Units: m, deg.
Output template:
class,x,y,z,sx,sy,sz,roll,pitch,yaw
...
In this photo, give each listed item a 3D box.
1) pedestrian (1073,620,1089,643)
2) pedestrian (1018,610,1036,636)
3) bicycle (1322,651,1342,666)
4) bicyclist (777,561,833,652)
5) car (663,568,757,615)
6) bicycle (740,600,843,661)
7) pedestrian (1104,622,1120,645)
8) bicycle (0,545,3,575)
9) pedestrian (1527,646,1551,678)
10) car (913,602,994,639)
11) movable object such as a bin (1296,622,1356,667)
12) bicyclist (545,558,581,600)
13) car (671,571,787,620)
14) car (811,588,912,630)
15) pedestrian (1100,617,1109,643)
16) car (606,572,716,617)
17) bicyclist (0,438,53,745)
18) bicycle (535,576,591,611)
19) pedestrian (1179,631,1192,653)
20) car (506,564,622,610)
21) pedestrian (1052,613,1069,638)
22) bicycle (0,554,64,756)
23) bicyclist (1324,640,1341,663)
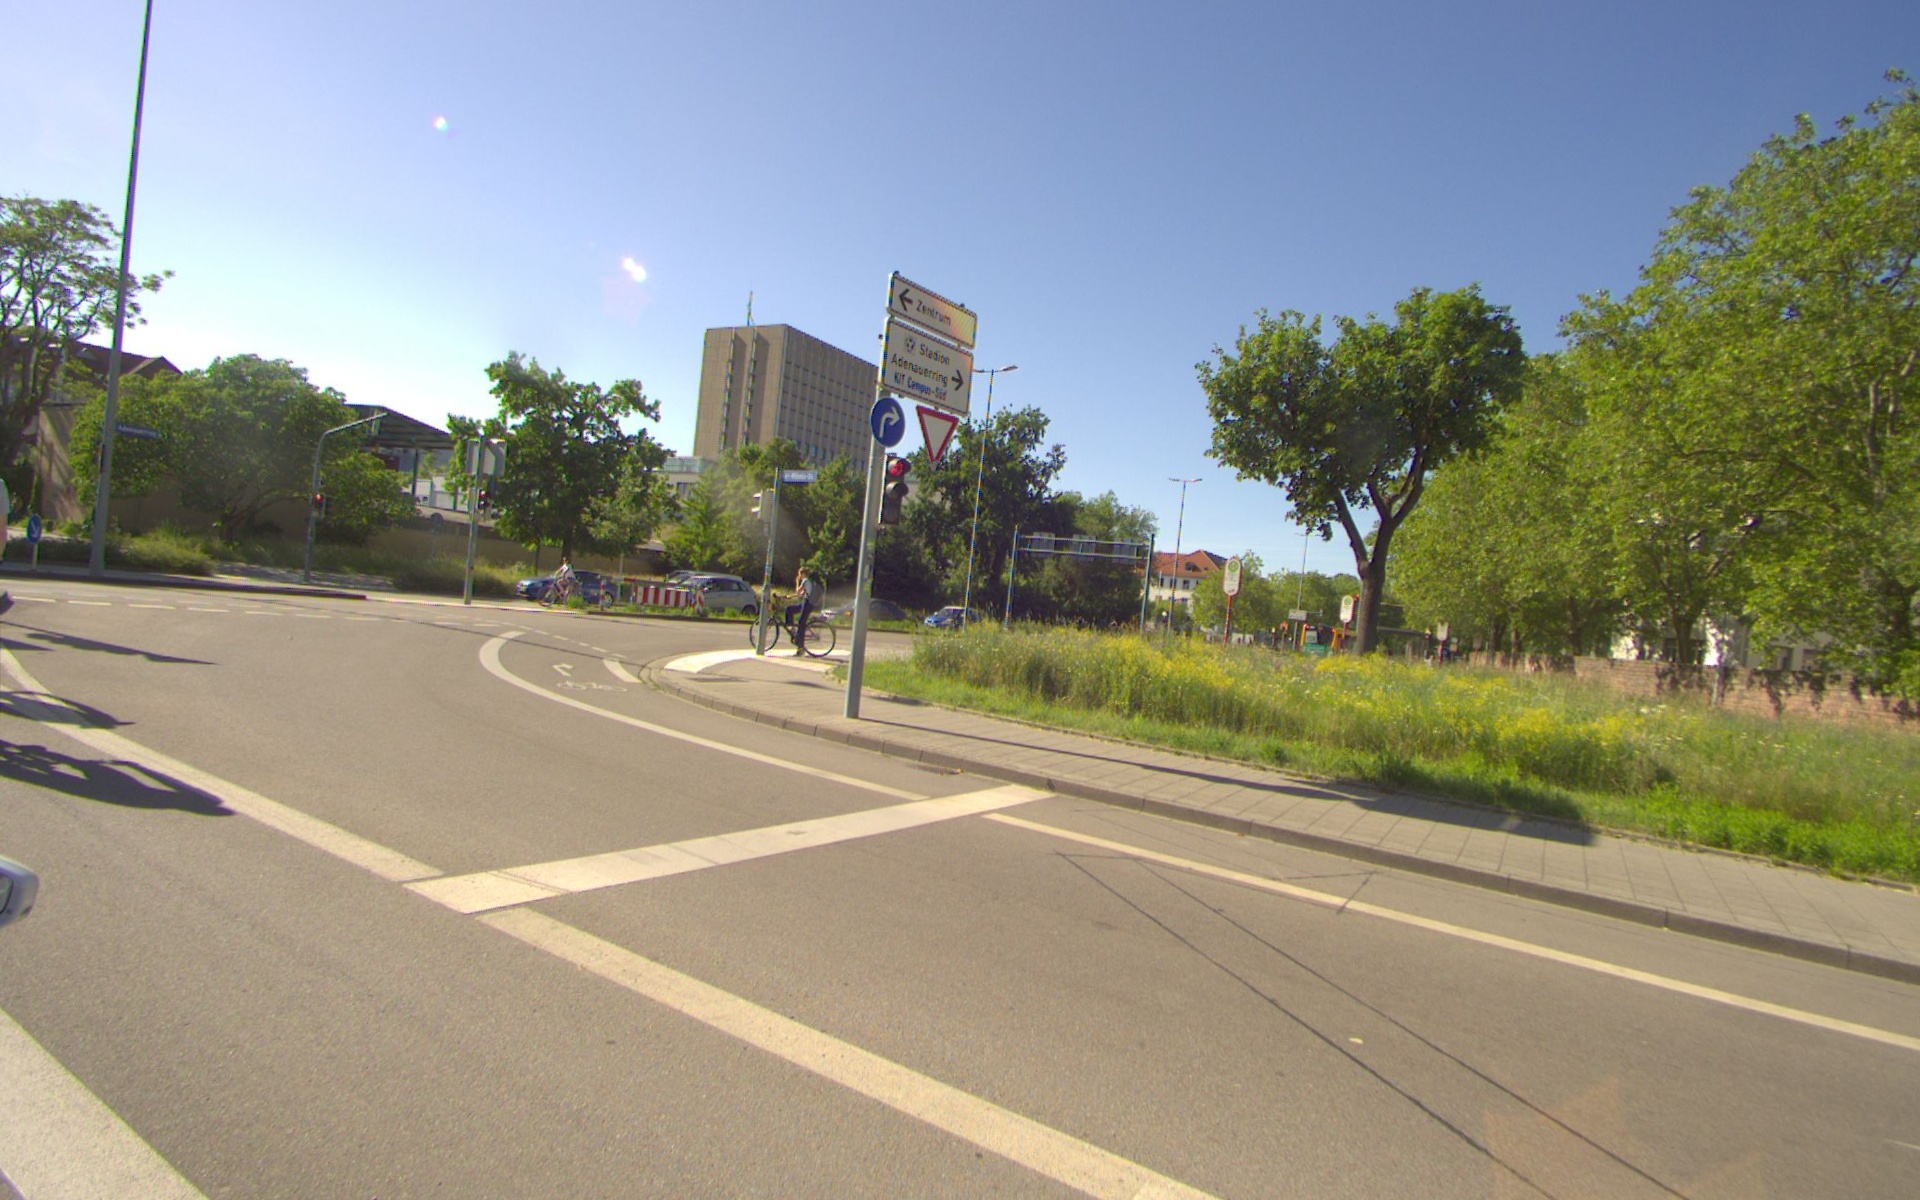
class,x,y,z,sx,sy,sz,roll,pitch,yaw
pedestrian,11.140,2.882,92.497,0.752,2.039,1.267,7,1,36
pedestrian,5.667,1.958,85.089,0.752,2.039,1.267,7,1,36
bicycle,25.377,3.992,68.642,0.640,0.986,1.895,7,1,39
bicyclist,-3.033,0.124,19.704,0.898,1.667,0.630,6,1,-9
car,-11.839,-0.369,47.794,1.767,1.771,3.986,7,0,37
bicycle,-3.287,0.591,19.676,1.856,0.970,0.635,7,1,-10
pedestrian,14.556,3.223,96.394,0.752,2.039,1.267,7,1,36
bicycle,-8.239,0.017,7.776,1.890,1.102,0.690,6,-1,32
pedestrian,28.208,2.998,49.035,0.712,1.460,0.523,7,-1,2
car,-0.291,1.049,50.456,1.916,1.415,3.986,6,0,37
movable object such as a bin,28.050,3.478,76.823,2.954,2.898,9.178,6,0,27
bicyclist,-13.931,-0.724,35.281,0.602,1.360,0.874,7,1,37
car,-8.736,-0.132,38.288,1.767,1.415,3.986,7,0,37
car,-4.306,0.434,44.629,1.767,1.415,4.557,7,0,37
pedestrian,13.879,2.927,96.872,0.401,2.451,0.467,6,-1,34
car,-12.296,-0.202,41.569,1.767,1.415,3.986,7,0,37
bicyclist,-6.249,-0.107,6.101,1.123,1.813,0.684,7,0,32
bicycle,-13.933,-0.229,35.358,0.602,1.046,1.681,7,0,37
pedestrian,25.895,4.828,115.435,0.935,2.318,1.092,7,-1,24
car,-16.207,-0.528,41.316,1.767,1.415,3.986,7,0,37
pedestrian,8.684,2.222,86.724,0.752,2.039,1.267,7,1,36
bicycle,-6.287,0.237,6.095,1.890,1.102,0.690,6,-1,32
bicyclist,25.428,3.510,68.628,0.632,1.533,1.049,7,2,39
